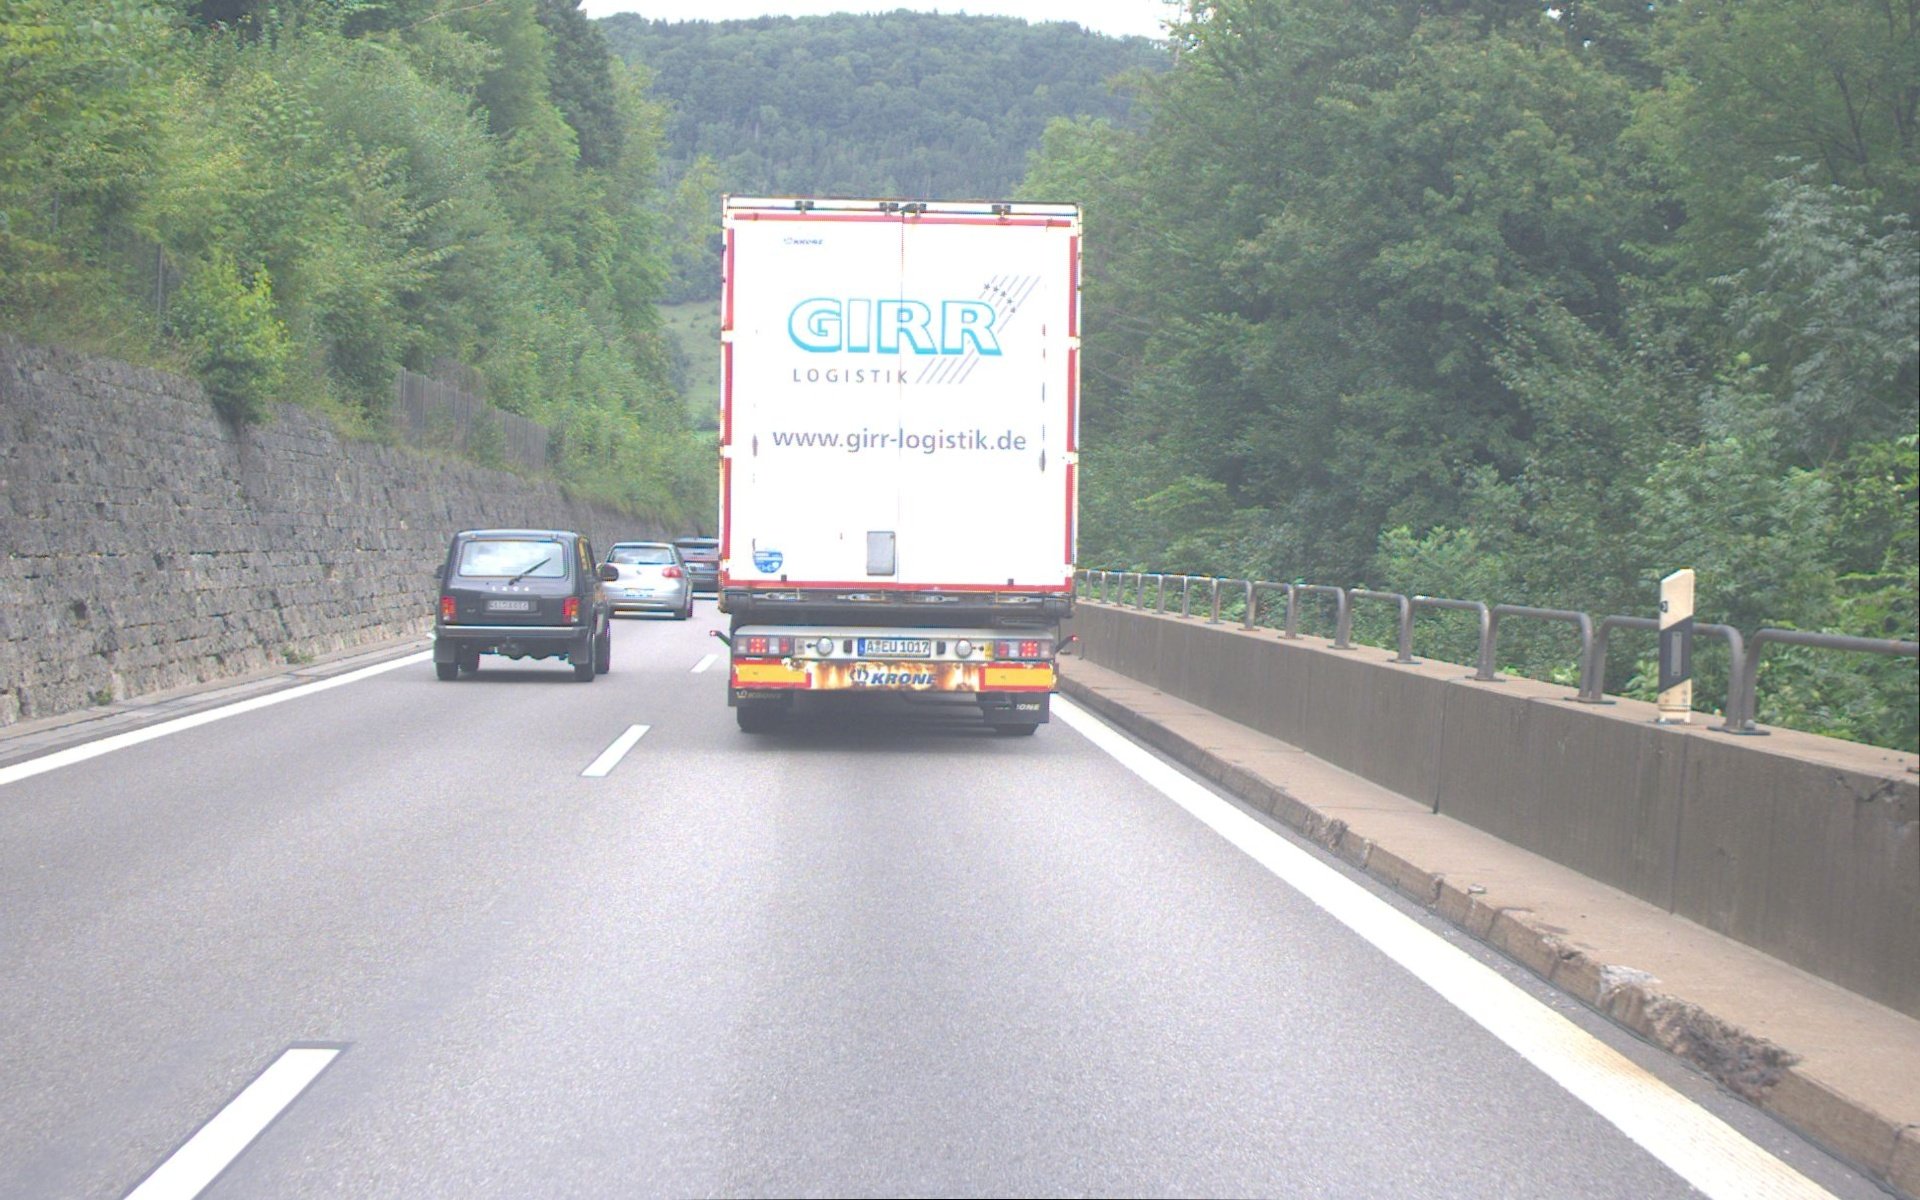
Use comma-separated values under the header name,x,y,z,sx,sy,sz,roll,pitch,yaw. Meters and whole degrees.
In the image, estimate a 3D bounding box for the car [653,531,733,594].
name,x,y,z,sx,sy,sz,roll,pitch,yaw
car,-7.041,-0.982,91.054,1.917,1.589,4.179,1,0,-2

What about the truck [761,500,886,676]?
name,x,y,z,sx,sy,sz,roll,pitch,yaw
truck,-2.977,-0.276,74.668,2.486,3.559,9.309,1,0,-2

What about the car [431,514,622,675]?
name,x,y,z,sx,sy,sz,roll,pitch,yaw
car,-4.674,-0.069,37.525,1.669,1.633,4.068,1,0,-2

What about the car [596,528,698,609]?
name,x,y,z,sx,sy,sz,roll,pitch,yaw
car,-5.993,-0.607,66.152,1.729,1.481,4.000,1,0,-2

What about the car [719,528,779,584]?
name,x,y,z,sx,sy,sz,roll,pitch,yaw
car,-7.999,-1.656,130.593,1.993,2.007,4.000,2,0,-1

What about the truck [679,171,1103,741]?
name,x,y,z,sx,sy,sz,roll,pitch,yaw
truck,-0.589,-1.060,28.763,2.908,3.947,9.279,1,1,-1
